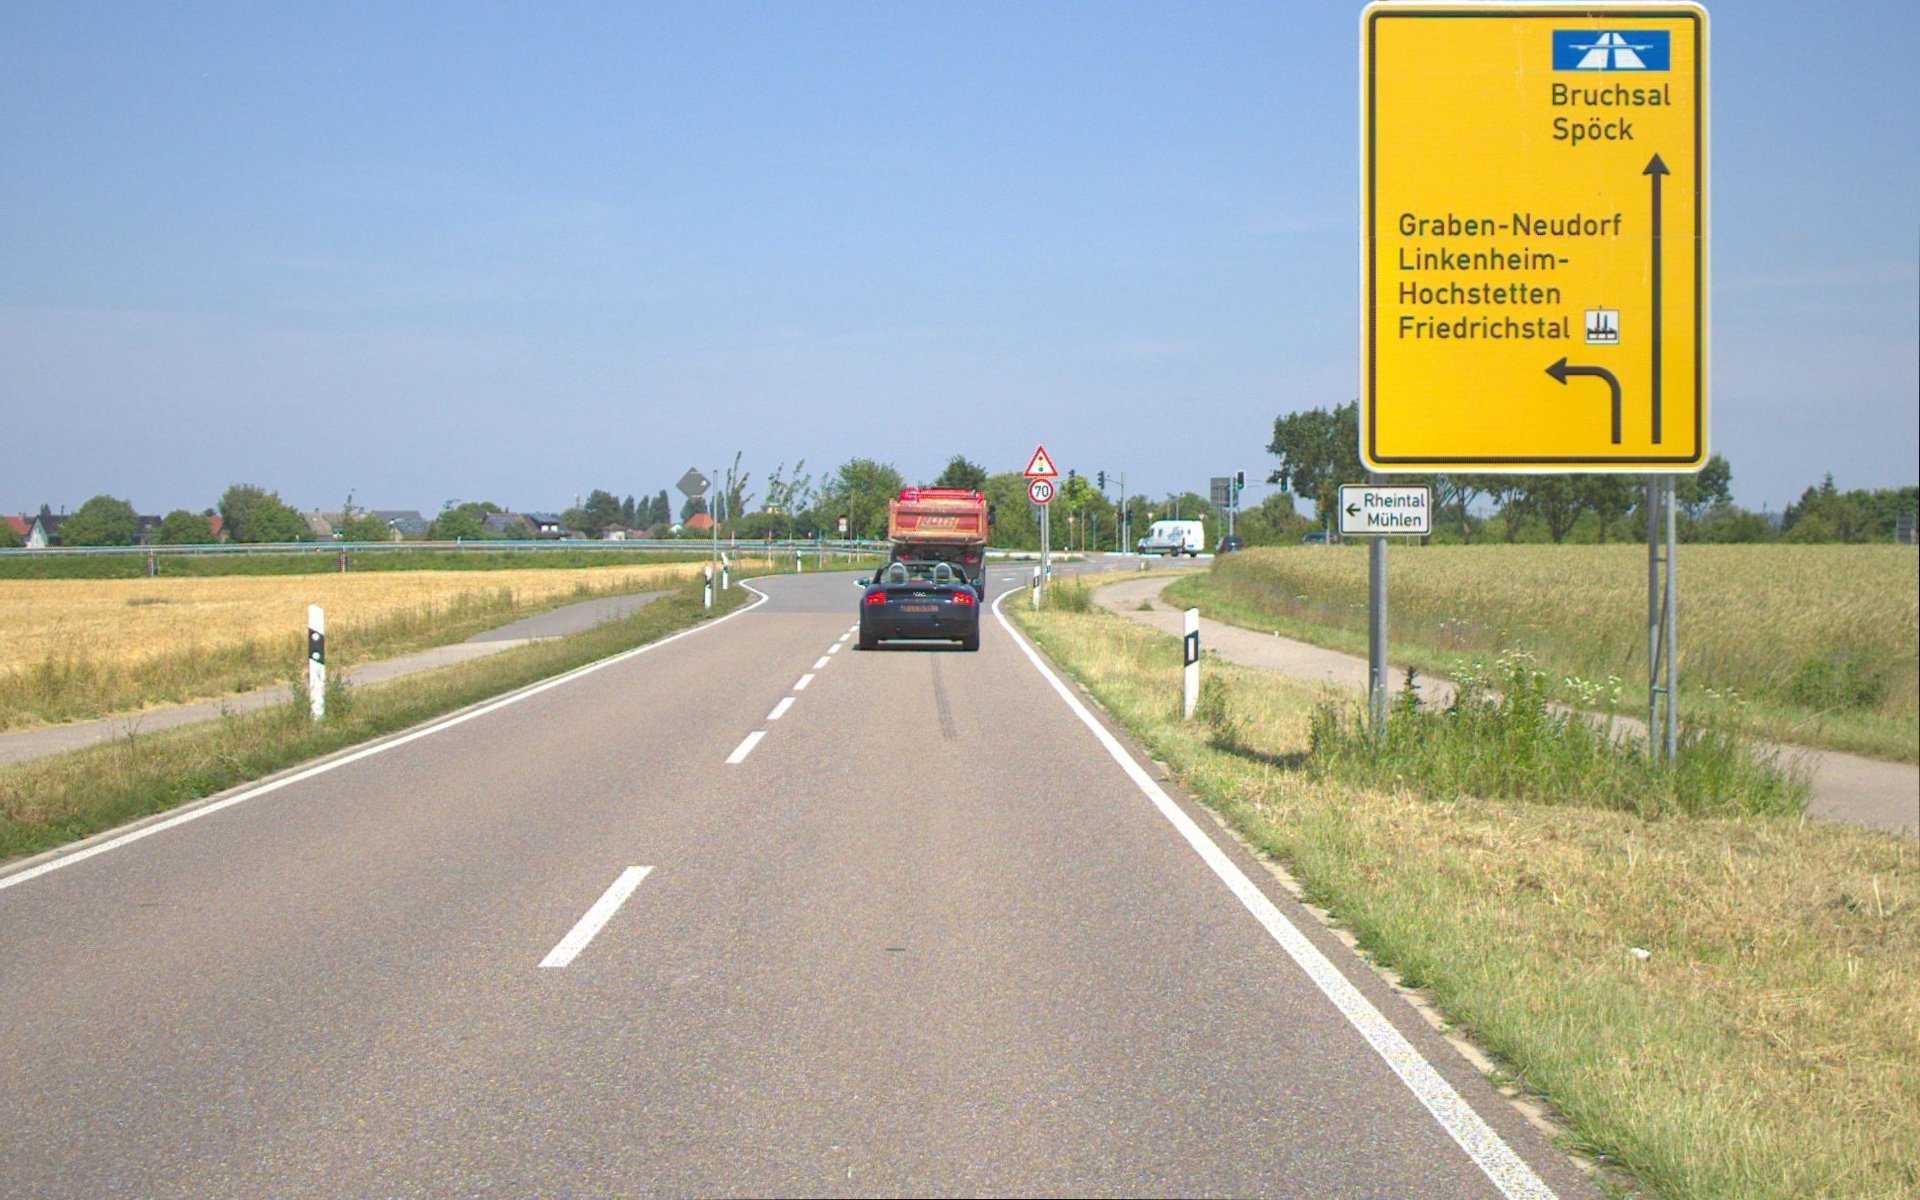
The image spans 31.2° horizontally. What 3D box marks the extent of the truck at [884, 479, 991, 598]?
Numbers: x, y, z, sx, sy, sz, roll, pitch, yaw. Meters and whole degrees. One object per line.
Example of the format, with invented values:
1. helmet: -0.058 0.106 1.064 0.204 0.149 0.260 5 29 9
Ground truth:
1. truck: -0.624 -1.616 93.318 2.714 3.042 8.165 1 0 -1

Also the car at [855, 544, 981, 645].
1. car: -0.609 -0.084 50.676 1.747 1.371 3.679 2 0 0
